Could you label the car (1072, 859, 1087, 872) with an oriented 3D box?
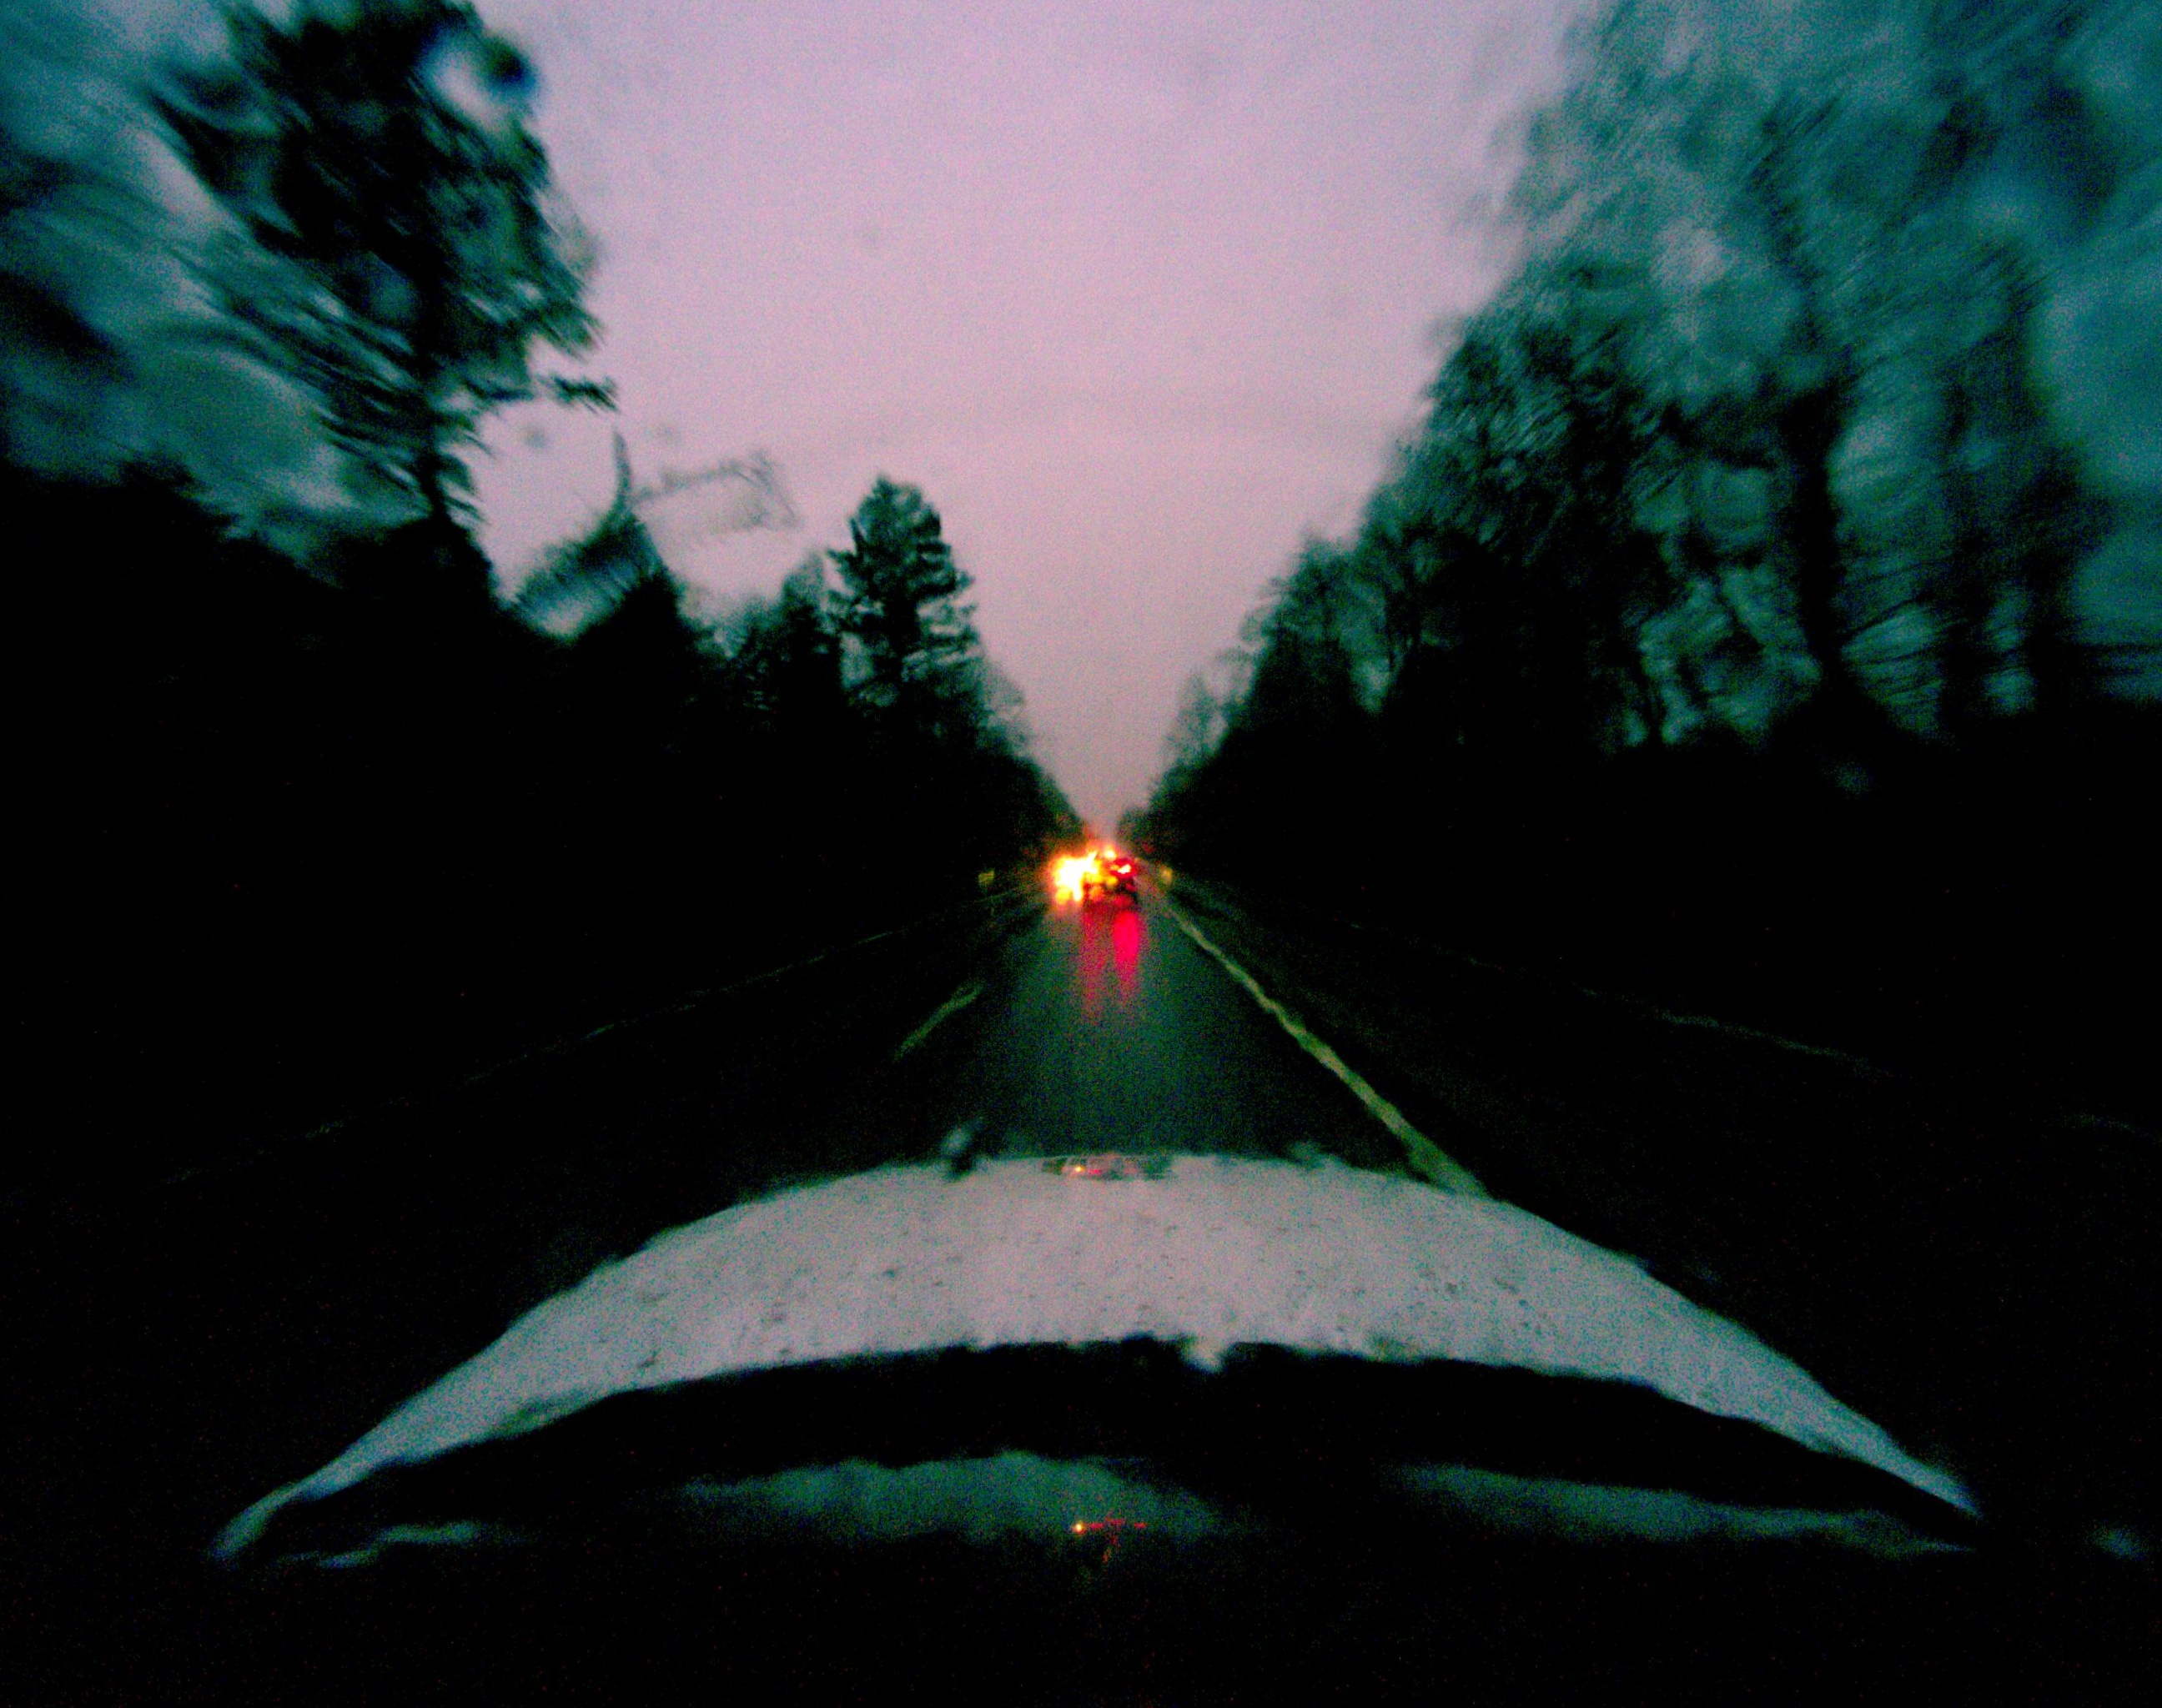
[{"bbox_3d":[-0.184,1.353,93.969,1.507,1.413,3.663,-2,0,3],"label":"car"}]
